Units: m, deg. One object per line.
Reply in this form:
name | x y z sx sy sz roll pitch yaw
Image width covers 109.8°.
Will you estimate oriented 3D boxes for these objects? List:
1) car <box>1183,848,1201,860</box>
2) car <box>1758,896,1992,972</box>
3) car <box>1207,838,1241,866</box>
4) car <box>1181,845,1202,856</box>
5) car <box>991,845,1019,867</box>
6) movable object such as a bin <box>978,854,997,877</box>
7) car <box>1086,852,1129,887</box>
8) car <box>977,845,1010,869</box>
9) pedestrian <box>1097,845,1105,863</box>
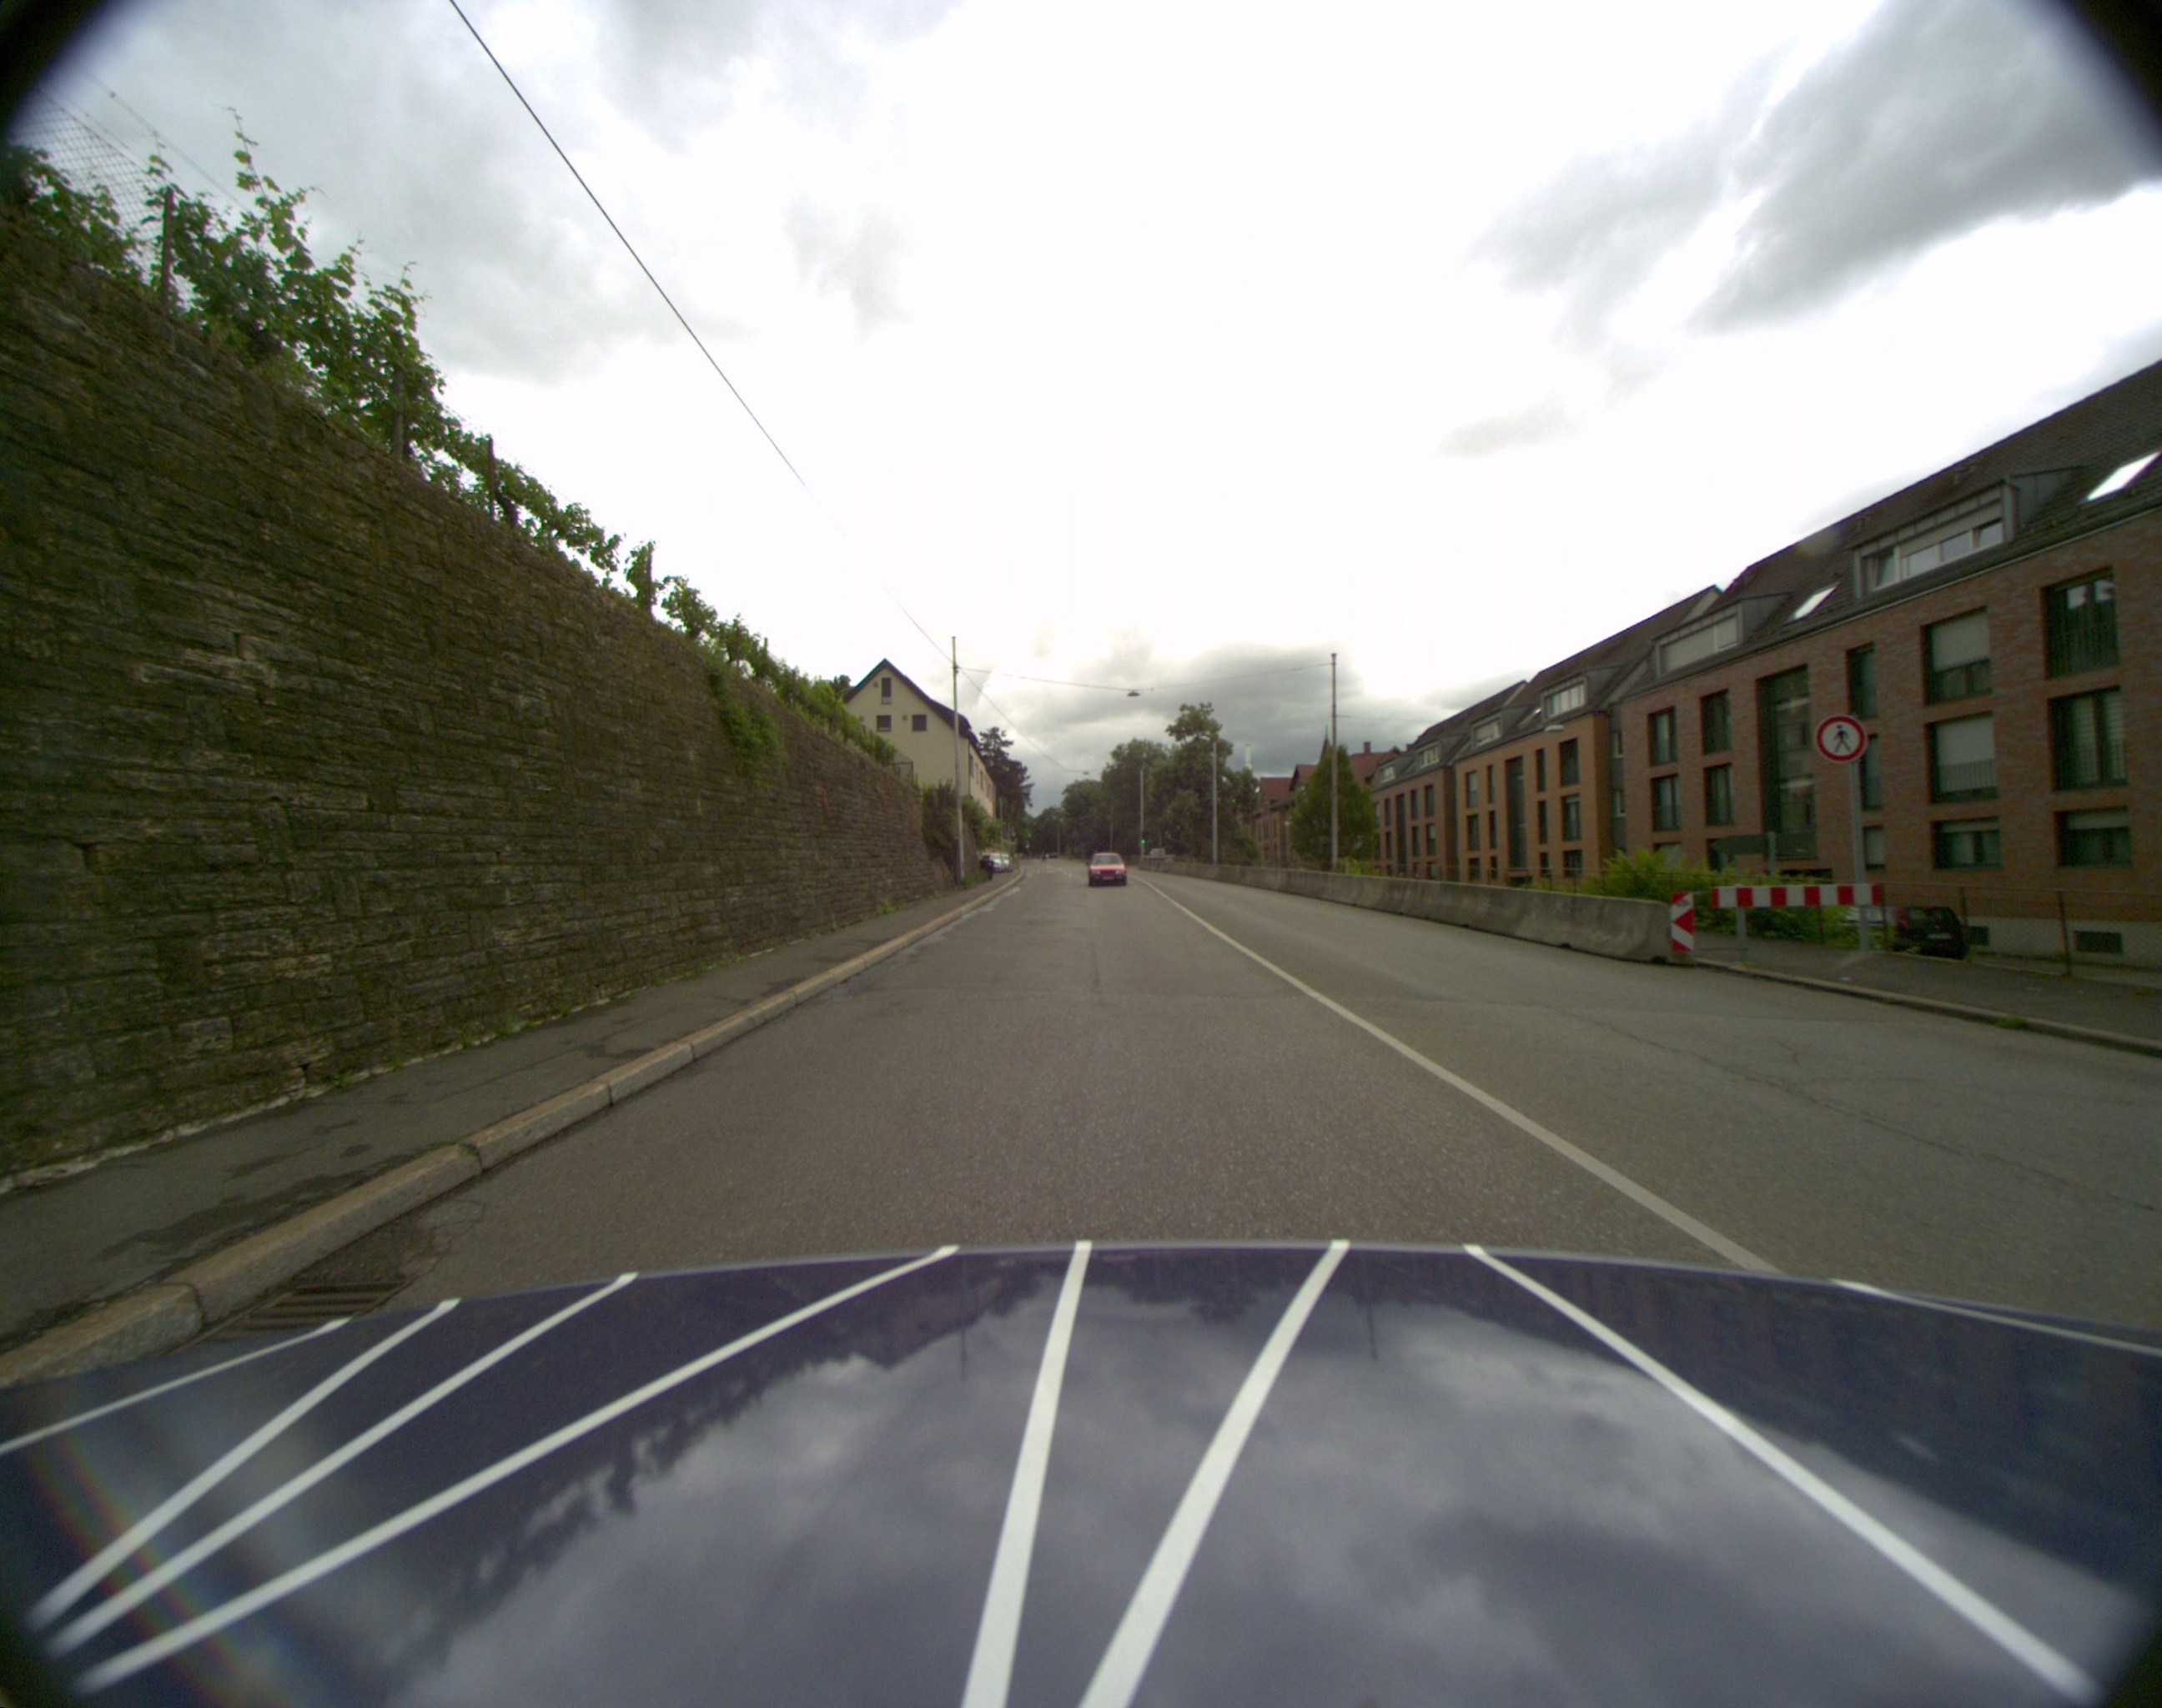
car | 15.699 0.022 107.296 1.998 1.543 4.000 -2 0 1
car | 20.805 2.028 20.194 1.999 1.652 4.000 1 -1 -2
car | 14.423 -0.265 77.041 2.564 2.567 5.735 -2 1 4
car | 13.243 -0.412 91.445 1.998 1.346 4.000 0 1 1
car | -5.990 0.155 60.256 1.732 1.566 4.248 -2 1 0
movable object such as a bin | -4.781 0.573 38.820 0.811 1.120 0.874 -1 1 -1
car | 1.122 0.665 33.767 1.646 1.429 3.999 -1 0 -2
car | -6.321 0.172 55.304 1.799 1.566 4.054 -2 1 0
pedestrian | 2.006 0.002 75.546 0.735 1.702 0.696 -1 1 3
